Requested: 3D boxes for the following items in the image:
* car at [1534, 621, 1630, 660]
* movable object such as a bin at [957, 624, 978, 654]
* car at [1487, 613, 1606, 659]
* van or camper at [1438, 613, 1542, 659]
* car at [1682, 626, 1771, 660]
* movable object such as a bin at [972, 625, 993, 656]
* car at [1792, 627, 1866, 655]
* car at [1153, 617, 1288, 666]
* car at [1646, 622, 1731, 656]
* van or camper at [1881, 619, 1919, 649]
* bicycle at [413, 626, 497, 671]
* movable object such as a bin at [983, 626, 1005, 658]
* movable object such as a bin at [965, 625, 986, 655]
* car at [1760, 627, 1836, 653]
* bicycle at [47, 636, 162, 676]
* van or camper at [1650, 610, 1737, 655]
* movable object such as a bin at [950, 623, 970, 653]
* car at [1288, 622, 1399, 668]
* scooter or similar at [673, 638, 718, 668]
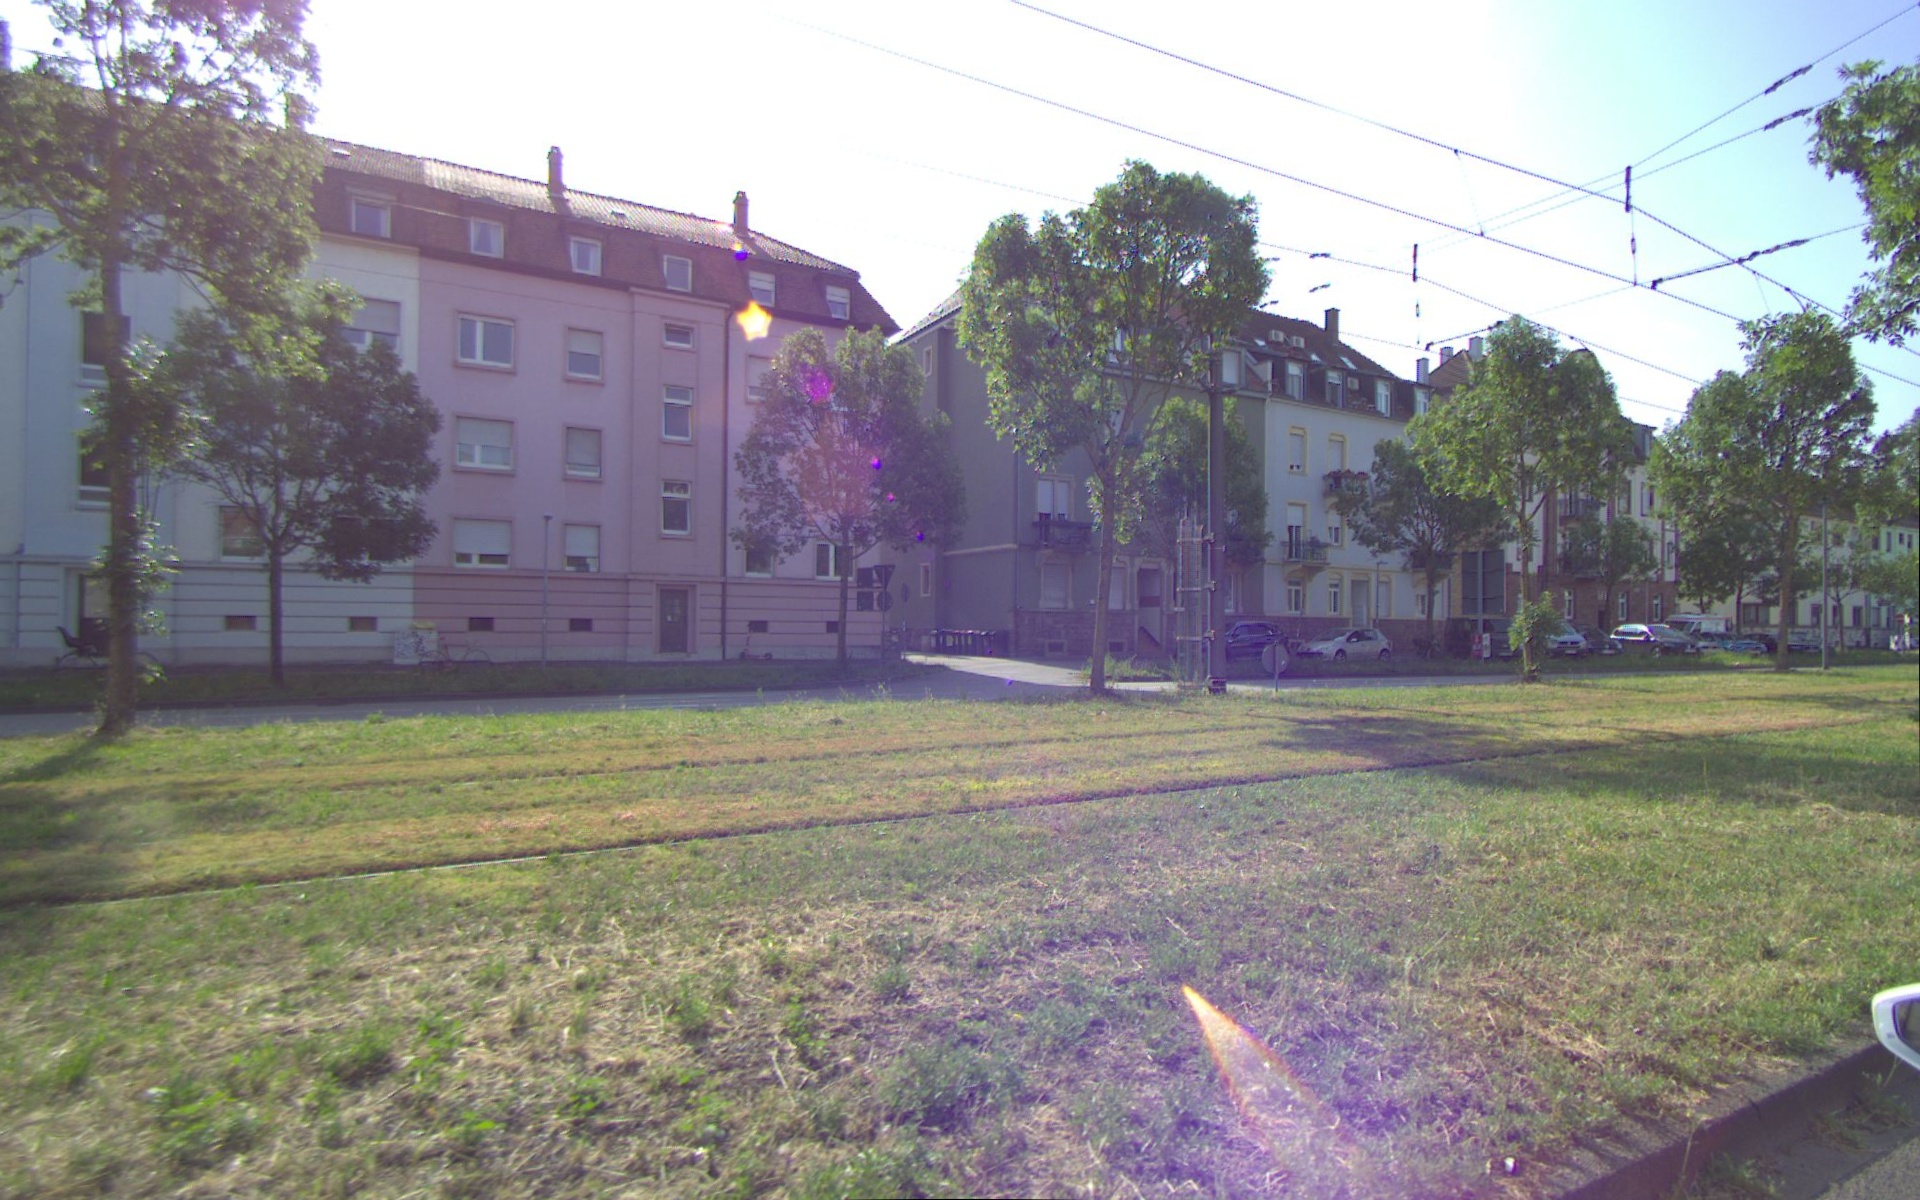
[{"bbox_3d":[27.382,1.735,44.404,1.935,1.438,4.479,2,1,8],"label":"car"},{"bbox_3d":[0.328,1.641,42.318,0.633,1.227,0.582,2,1,-31],"label":"movable object such as a bin"},{"bbox_3d":[24.787,1.487,42.712,2.016,1.645,5.222,2,1,1],"label":"car"},{"bbox_3d":[22.000,1.430,41.929,1.962,1.645,4.852,2,1,4],"label":"van or camper"},{"bbox_3d":[38.417,2.123,50.455,1.545,1.436,4.001,2,1,4],"label":"car"},{"bbox_3d":[0.930,1.675,41.220,0.633,1.227,0.582,2,1,-31],"label":"movable object such as a bin"},{"bbox_3d":[48.171,2.261,55.755,1.467,1.344,3.166,2,1,4],"label":"car"},{"bbox_3d":[9.665,1.520,37.182,4.715,1.650,1.985,1,1,-28],"label":"car"},{"bbox_3d":[36.064,1.918,49.842,1.545,1.436,4.002,2,1,5],"label":"car"},{"bbox_3d":[77.938,2.805,82.161,5.755,2.359,1.985,2,1,-28],"label":"van or camper"},{"bbox_3d":[-13.331,1.283,26.524,1.925,1.143,0.601,2,1,-31],"label":"bicycle"},{"bbox_3d":[1.365,1.697,40.636,0.633,1.227,0.582,2,1,-31],"label":"movable object such as a bin"},{"bbox_3d":[0.635,1.658,41.781,0.633,1.227,0.582,2,1,-31],"label":"movable object such as a bin"},{"bbox_3d":[44.651,2.095,53.601,1.467,1.176,3.165,2,1,3],"label":"car"},{"bbox_3d":[-19.497,1.271,22.931,1.925,0.868,0.445,2,1,-31],"label":"bicycle"},{"bbox_3d":[46.187,2.073,63.241,6.283,2.601,2.029,2,1,-30],"label":"van or camper"},{"bbox_3d":[0.003,1.620,42.879,0.633,1.227,0.582,2,1,-31],"label":"movable object such as a bin"},{"bbox_3d":[15.118,1.760,39.532,4.107,1.650,1.881,1,1,-30],"label":"car"},{"bbox_3d":[-7.772,1.551,29.481,1.202,0.823,0.603,2,1,-19],"label":"scooter or similar"}]
